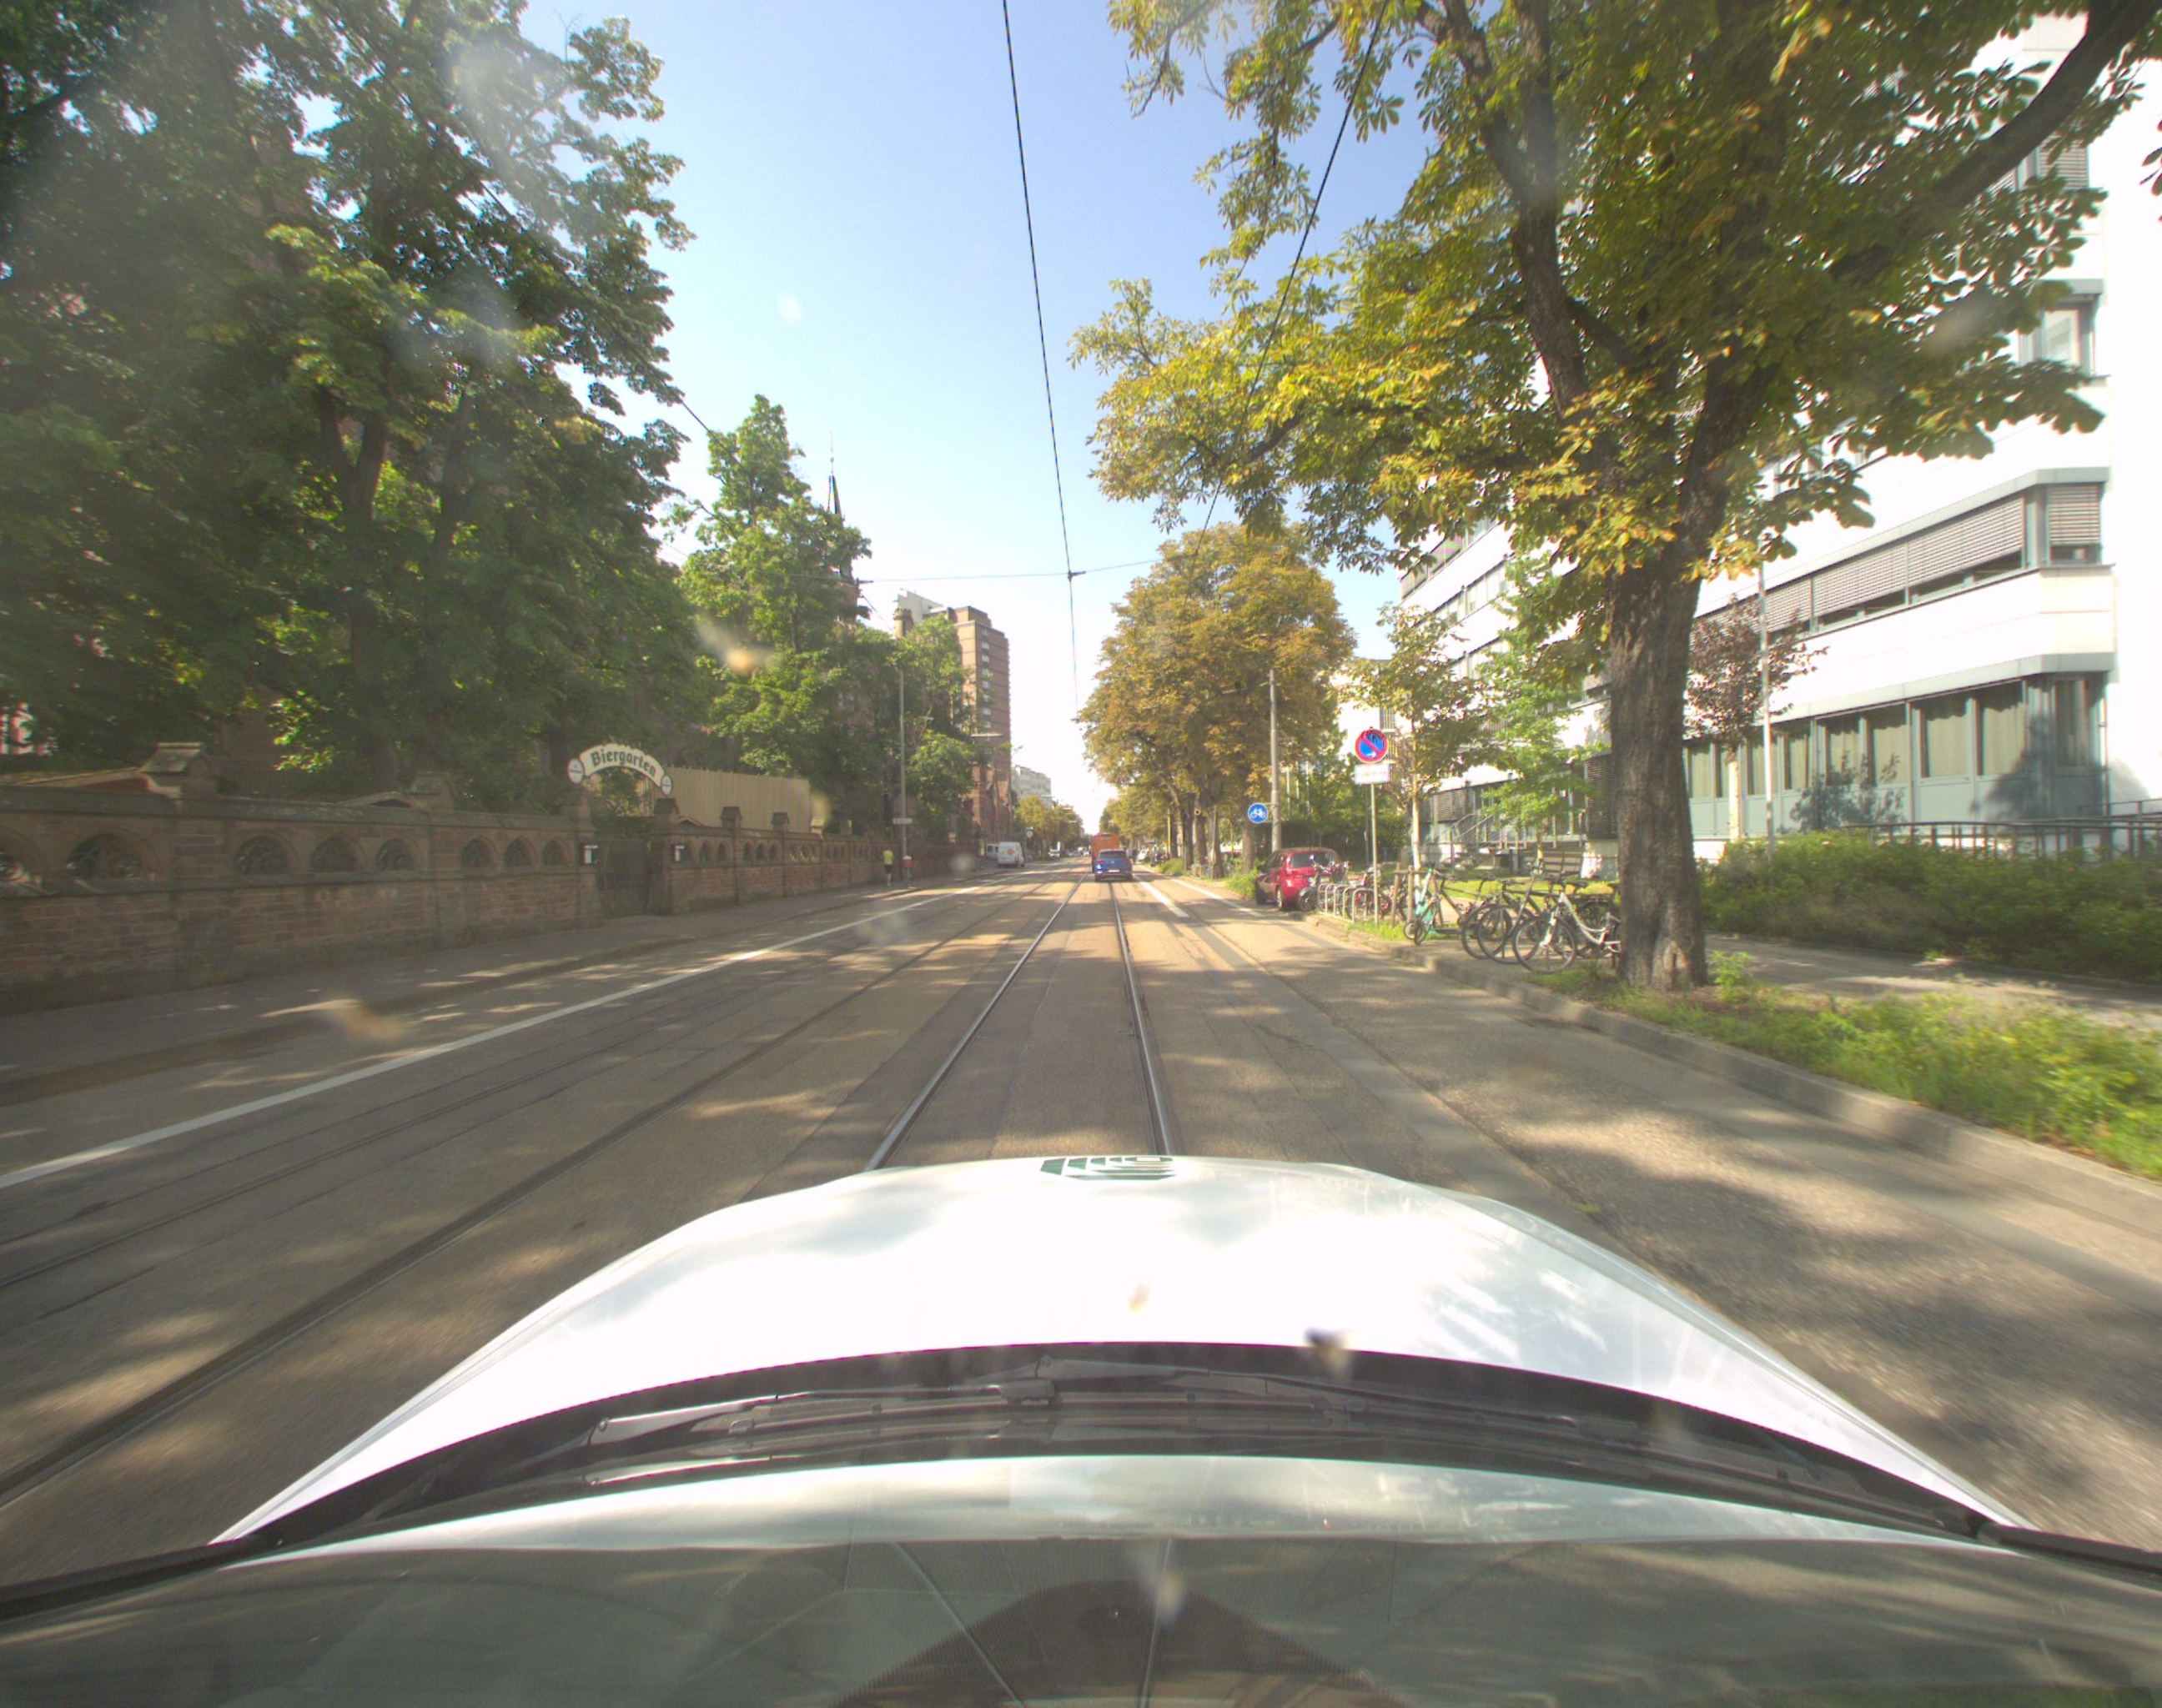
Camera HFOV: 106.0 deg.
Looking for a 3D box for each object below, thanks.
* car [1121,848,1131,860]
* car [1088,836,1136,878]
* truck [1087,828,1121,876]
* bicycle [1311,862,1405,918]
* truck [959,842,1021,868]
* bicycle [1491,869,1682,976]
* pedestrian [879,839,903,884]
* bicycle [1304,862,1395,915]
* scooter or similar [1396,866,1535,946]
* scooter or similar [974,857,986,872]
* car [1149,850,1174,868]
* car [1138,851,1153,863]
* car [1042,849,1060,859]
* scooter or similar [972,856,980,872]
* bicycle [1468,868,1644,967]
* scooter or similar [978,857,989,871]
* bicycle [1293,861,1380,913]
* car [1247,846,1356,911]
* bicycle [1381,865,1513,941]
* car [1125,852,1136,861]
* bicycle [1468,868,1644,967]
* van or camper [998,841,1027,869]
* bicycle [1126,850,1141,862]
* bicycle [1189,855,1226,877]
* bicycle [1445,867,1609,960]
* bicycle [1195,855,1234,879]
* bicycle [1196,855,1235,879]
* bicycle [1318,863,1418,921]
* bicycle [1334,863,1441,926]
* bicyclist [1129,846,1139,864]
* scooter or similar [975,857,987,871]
[{"bbox_3d":[10.309,-0.009,188.223,1.987,2.755,5.761,-1,0,1],"label":"car"},{"bbox_3d":[1.525,0.145,39.931,2.127,1.858,5.570,-2,0,2],"label":"car"},{"bbox_3d":[1.646,-0.148,57.387,2.127,3.124,6.087,-2,0,2],"label":"truck"},{"bbox_3d":[5.798,0.745,17.089,1.765,1.071,0.540,-2,0,0],"label":"bicycle"},{"bbox_3d":[-9.763,0.084,87.545,6.288,2.538,2.135,2,1,6],"label":"truck"},{"bbox_3d":[5.603,0.750,9.076,1.765,1.071,0.540,-2,0,0],"label":"bicycle"},{"bbox_3d":[-8.746,0.348,37.511,0.861,2.013,0.983,-1,0,-1],"label":"pedestrian"},{"bbox_3d":[5.844,0.744,17.763,1.765,1.071,0.540,-2,0,0],"label":"bicycle"},{"bbox_3d":[5.644,0.748,12.006,1.765,1.071,0.540,-2,0,0],"label":"scooter or similar"},{"bbox_3d":[-8.270,0.847,66.792,0.336,1.178,1.185,-1,0,27],"label":"scooter or similar"},{"bbox_3d":[7.187,0.427,73.102,1.750,1.515,4.609,-2,0,0],"label":"car"},{"bbox_3d":[8.262,0.420,103.979,1.653,1.481,4.219,-2,0,2],"label":"car"},{"bbox_3d":[-5.503,-0.083,151.352,1.757,1.796,3.963,-1,0,-28],"label":"car"},{"bbox_3d":[-8.068,0.754,62.485,0.421,1.178,1.310,-1,0,-14],"label":"scooter or similar"},{"bbox_3d":[5.670,0.748,9.771,1.765,1.071,0.540,-2,0,0],"label":"bicycle"},{"bbox_3d":[-8.275,0.846,69.100,0.336,1.178,1.185,-1,0,27],"label":"scooter or similar"},{"bbox_3d":[5.805,0.744,18.538,1.765,1.071,0.540,-2,0,0],"label":"bicycle"},{"bbox_3d":[5.597,0.561,21.238,1.749,1.462,4.276,-2,0,2],"label":"car"},{"bbox_3d":[5.641,0.748,12.594,1.765,1.071,0.540,-2,0,0],"label":"bicycle"},{"bbox_3d":[9.534,0.427,157.106,1.734,1.668,4.362,-1,0,1],"label":"car"},{"bbox_3d":[5.681,0.748,9.793,1.765,1.071,0.540,-2,0,0],"label":"bicycle"},{"bbox_3d":[-6.934,0.125,82.645,2.104,2.675,5.960,-1,0,3],"label":"van or camper"},{"bbox_3d":[5.459,0.179,84.353,1.396,1.134,4.001,-1,0,2],"label":"bicycle"},{"bbox_3d":[6.518,0.618,41.960,1.765,1.049,0.540,-2,0,0],"label":"bicycle"},{"bbox_3d":[5.655,0.749,10.372,1.765,1.071,0.540,-2,0,0],"label":"bicycle"},{"bbox_3d":[6.465,0.620,39.480,1.765,1.049,0.540,-2,0,0],"label":"bicycle"},{"bbox_3d":[6.401,0.621,38.803,1.765,1.049,0.540,-2,0,0],"label":"bicycle"},{"bbox_3d":[5.724,0.746,16.279,1.765,1.071,0.540,-2,0,0],"label":"bicycle"},{"bbox_3d":[5.692,0.747,15.177,1.765,1.071,0.540,-2,0,0],"label":"bicycle"},{"bbox_3d":[5.494,0.100,84.336,1.028,1.812,1.016,-1,0,1],"label":"bicyclist"},{"bbox_3d":[-8.324,0.847,67.966,0.336,1.178,1.185,-1,0,27],"label":"scooter or similar"}]
